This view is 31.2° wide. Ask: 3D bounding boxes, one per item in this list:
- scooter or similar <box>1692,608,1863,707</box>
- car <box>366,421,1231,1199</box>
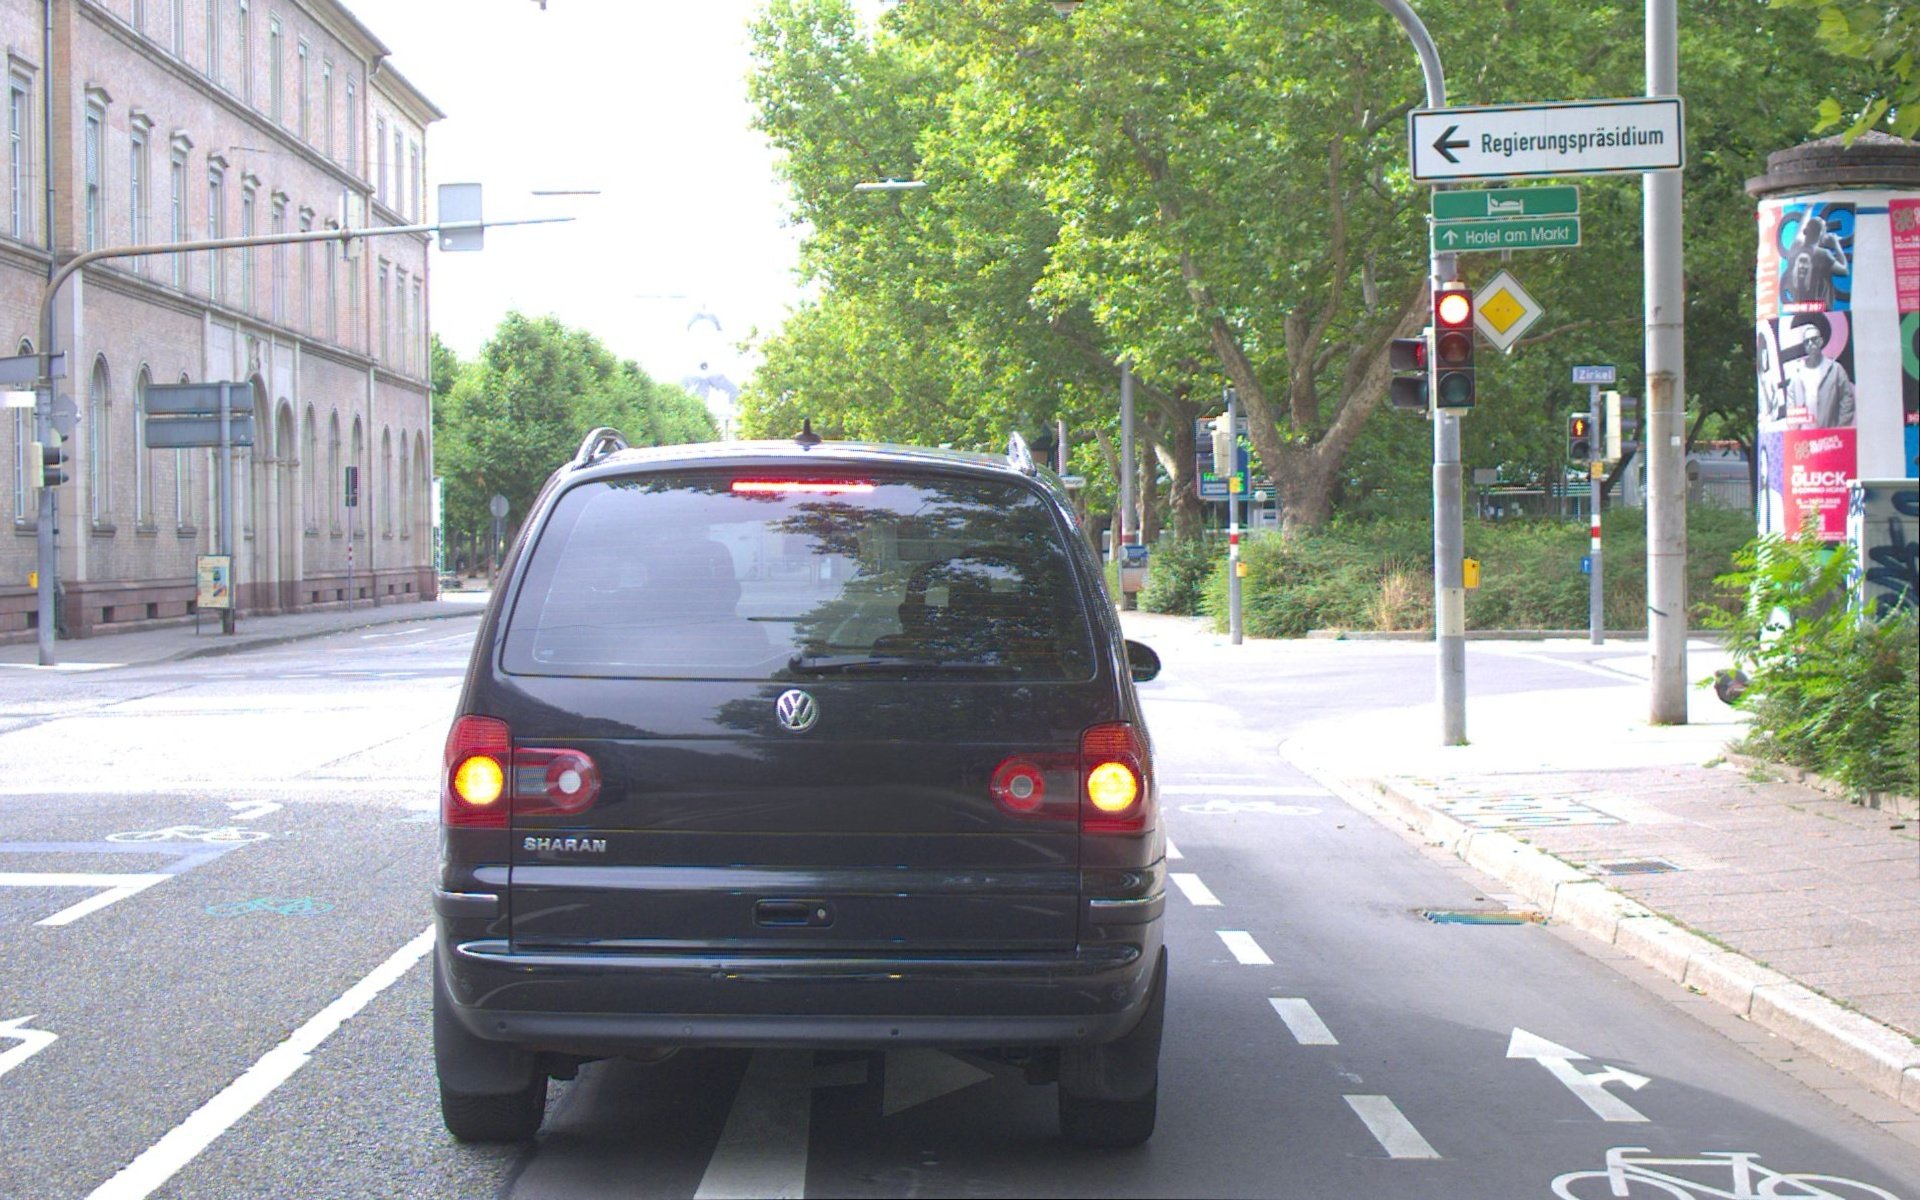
[{"bbox_3d":[6.297,0.437,26.502,1.219,0.734,0.369,-1,1,-1],"label":"scooter or similar"},{"bbox_3d":[-0.341,0.434,9.785,1.874,1.739,4.574,0,1,0],"label":"car"}]
